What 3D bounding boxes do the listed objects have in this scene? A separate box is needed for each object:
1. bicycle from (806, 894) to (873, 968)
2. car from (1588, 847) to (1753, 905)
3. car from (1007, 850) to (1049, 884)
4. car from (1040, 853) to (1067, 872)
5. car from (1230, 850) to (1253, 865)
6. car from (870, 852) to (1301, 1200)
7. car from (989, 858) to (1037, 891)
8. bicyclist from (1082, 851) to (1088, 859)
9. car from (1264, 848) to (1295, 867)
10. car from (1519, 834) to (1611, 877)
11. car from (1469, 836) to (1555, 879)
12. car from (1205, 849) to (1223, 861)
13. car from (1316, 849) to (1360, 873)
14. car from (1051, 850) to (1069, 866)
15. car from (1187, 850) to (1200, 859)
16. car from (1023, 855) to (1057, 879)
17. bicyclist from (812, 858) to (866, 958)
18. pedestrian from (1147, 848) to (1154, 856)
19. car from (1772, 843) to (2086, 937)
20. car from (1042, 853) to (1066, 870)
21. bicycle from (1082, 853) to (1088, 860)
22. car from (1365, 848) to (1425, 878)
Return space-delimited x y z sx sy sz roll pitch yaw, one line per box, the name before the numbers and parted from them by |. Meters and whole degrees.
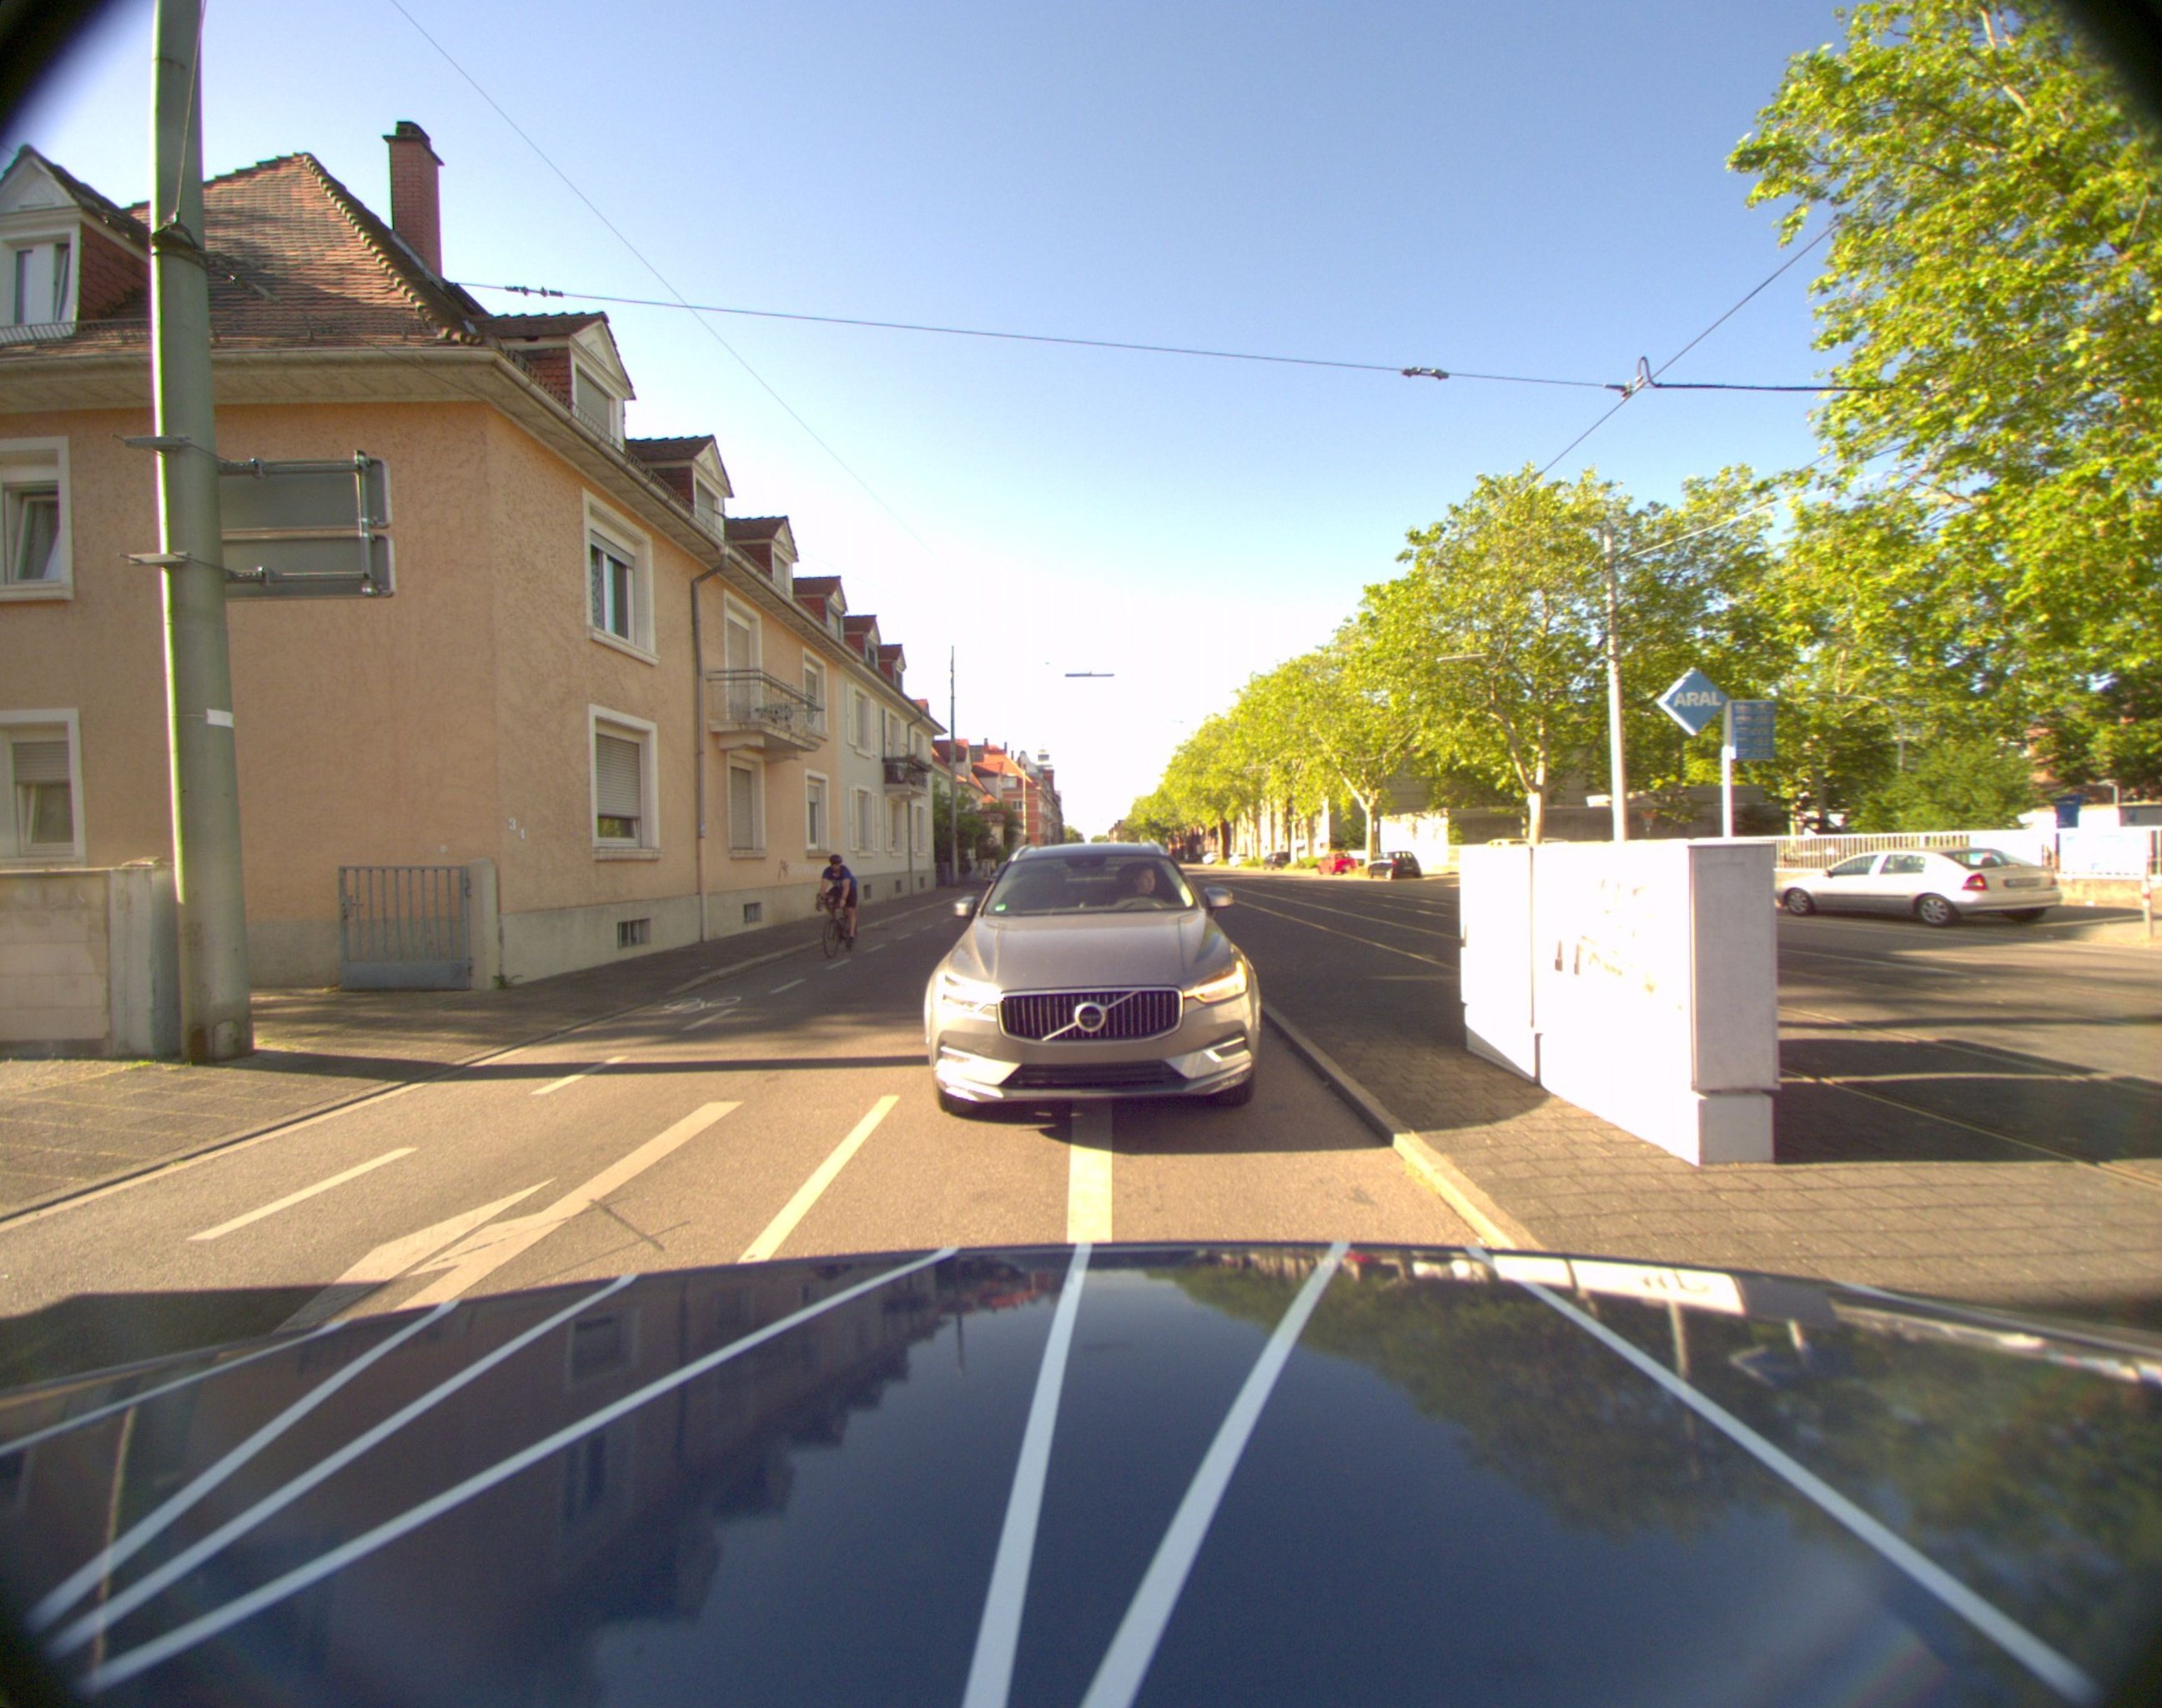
bicycle | -4.088 1.274 12.976 0.550 1.056 1.794 -1 1 0
car | 16.476 0.565 21.519 1.745 1.389 3.858 -4 0 3
car | -2.917 0.692 42.834 1.867 1.778 5.297 -1 0 1
car | -2.137 0.656 60.060 1.867 1.399 4.078 -1 0 1
car | 17.573 0.347 83.347 1.758 1.475 3.858 -3 0 3
car | 0.054 0.810 5.934 1.998 1.609 4.697 -1 0 1
car | -3.240 0.955 37.079 1.867 1.399 4.424 -1 0 1
bicyclist | 0.755 0.171 133.641 1.054 1.496 1.250 -1 1 1
car | 17.168 0.286 65.919 1.758 1.536 3.858 -3 0 3
car | 24.156 0.076 38.104 1.999 2.002 3.999 -1 0 -1
car | 21.808 0.165 38.645 1.999 2.002 3.999 -1 0 -1
car | 17.666 0.154 100.941 1.758 1.475 3.858 -3 0 3
car | 16.900 0.445 50.188 1.717 1.421 3.858 -3 0 3
car | -2.330 0.418 85.454 1.867 1.653 4.078 -1 0 1
car | 18.501 0.046 125.297 1.758 1.475 3.858 -3 0 3
car | -2.582 0.804 48.501 1.867 1.399 4.078 -1 0 1
bicyclist | -4.102 0.884 12.930 0.562 1.607 1.016 -1 1 0
pedestrian | 19.584 -0.564 213.141 1.686 2.002 1.761 -1 1 1
car | 16.236 0.605 14.911 1.847 1.477 3.858 -4 0 2
car | -2.358 0.609 66.365 1.867 1.399 4.078 -1 0 1
bicycle | 0.741 0.438 133.618 1.054 1.262 3.914 -1 0 1
car | 16.888 0.453 41.046 1.758 1.449 3.858 -3 0 3
